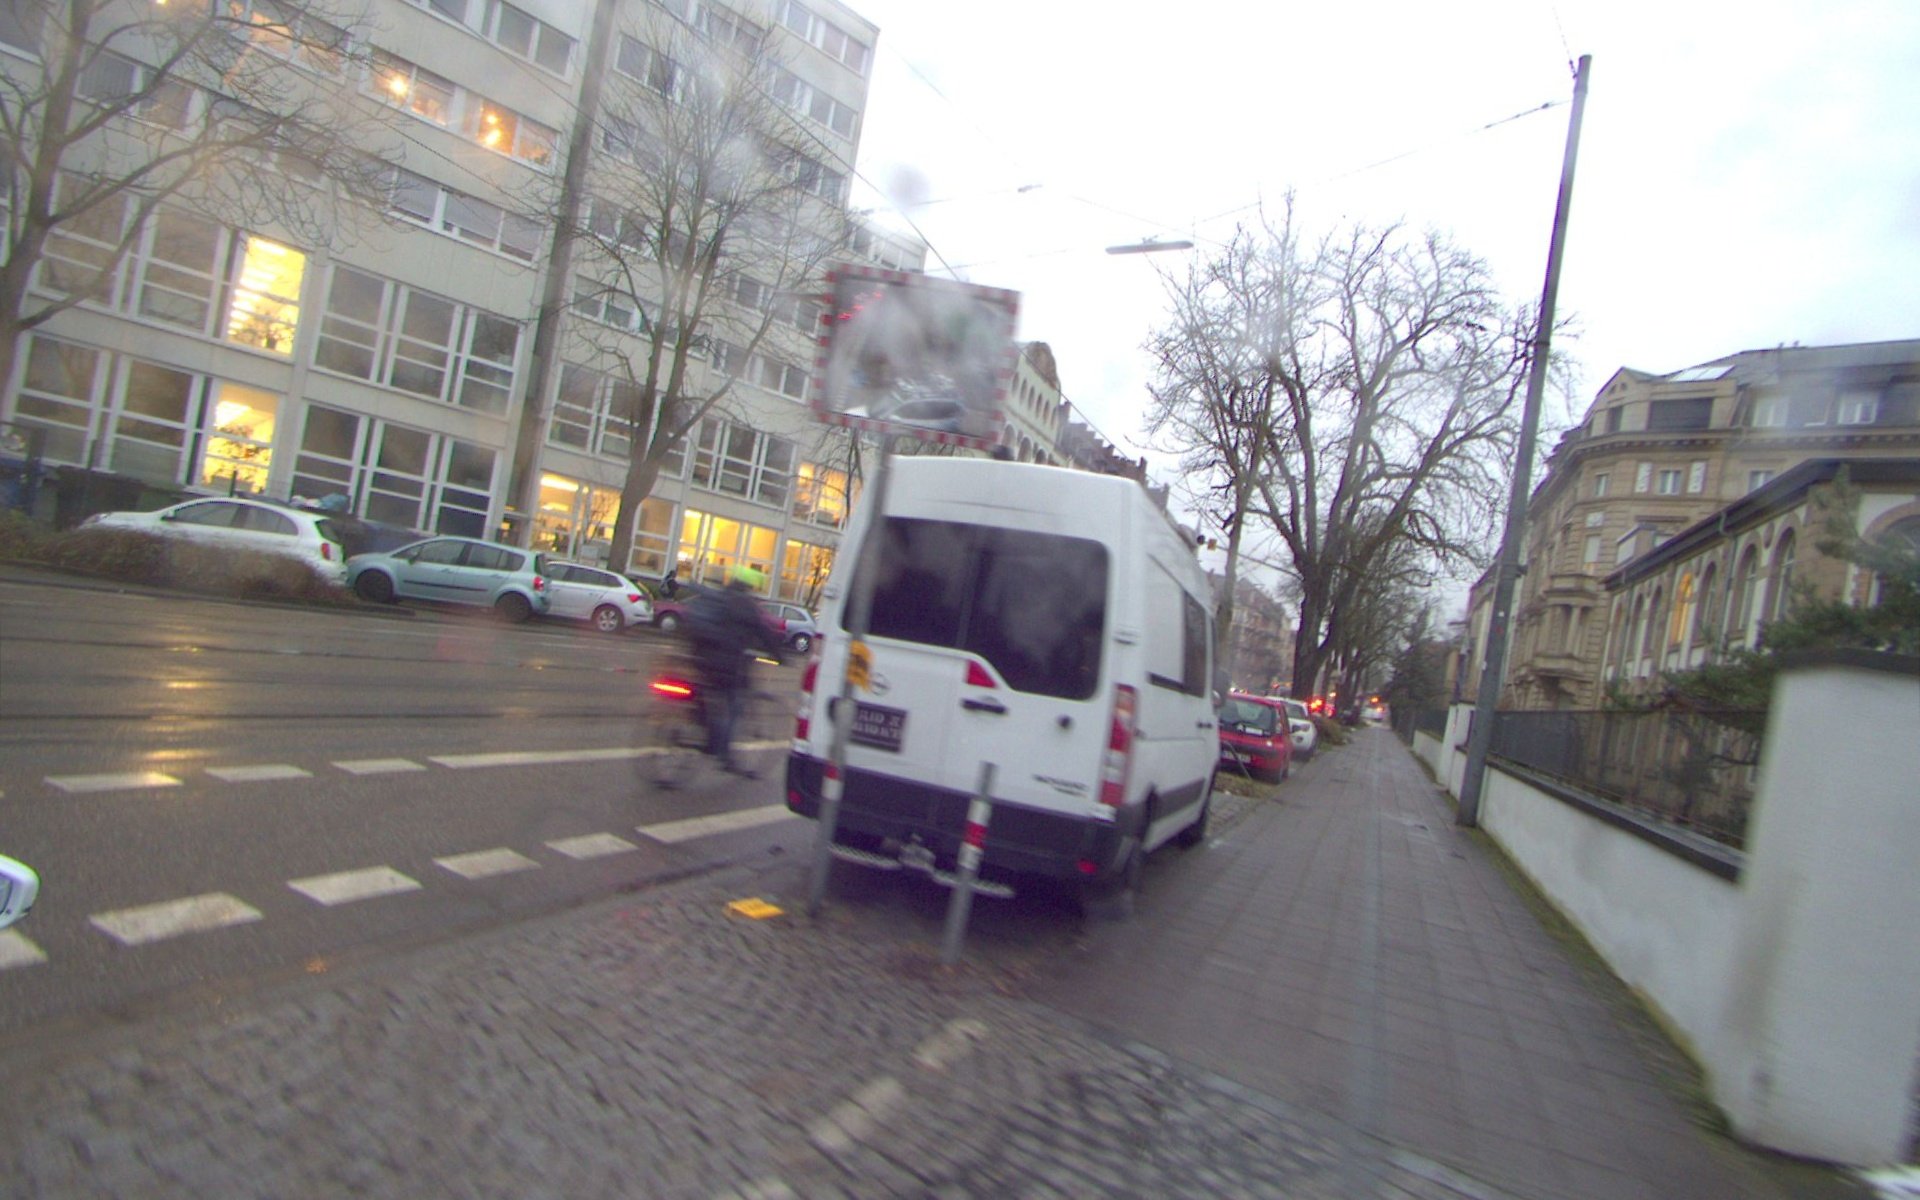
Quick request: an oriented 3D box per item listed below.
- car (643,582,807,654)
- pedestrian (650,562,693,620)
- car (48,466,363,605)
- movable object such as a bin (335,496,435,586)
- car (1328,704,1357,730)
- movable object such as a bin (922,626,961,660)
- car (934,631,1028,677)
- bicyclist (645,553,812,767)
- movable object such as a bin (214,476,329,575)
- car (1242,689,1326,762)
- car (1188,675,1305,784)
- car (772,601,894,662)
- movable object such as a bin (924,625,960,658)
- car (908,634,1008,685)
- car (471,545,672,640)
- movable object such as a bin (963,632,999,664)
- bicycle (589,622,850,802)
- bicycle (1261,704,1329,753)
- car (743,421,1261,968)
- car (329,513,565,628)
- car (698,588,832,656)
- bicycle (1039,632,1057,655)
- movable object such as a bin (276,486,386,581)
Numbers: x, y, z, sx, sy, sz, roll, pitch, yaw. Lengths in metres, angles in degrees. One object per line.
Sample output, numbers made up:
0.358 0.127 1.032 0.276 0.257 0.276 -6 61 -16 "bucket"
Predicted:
-6.908 0.524 29.614 4.297 1.367 1.740 11 -2 -25 "car"
-9.253 -0.284 32.305 0.588 1.696 0.973 9 0 23 "pedestrian"
-12.700 -1.040 17.251 3.827 1.569 1.684 10 -1 -21 "car"
-14.315 -1.456 25.070 1.547 1.882 1.317 9 0 25 "movable object such as a bin"
27.265 8.315 71.639 1.652 1.476 4.046 9 -2 22 "car"
-0.898 2.145 50.053 1.246 1.467 1.324 9 -1 31 "movable object such as a bin"
0.988 2.565 47.874 3.946 1.444 1.840 10 -1 -19 "car"
-1.745 0.463 7.677 0.646 1.463 0.849 9 0 26 "bicyclist"
-15.421 -1.658 22.559 1.547 1.882 1.317 9 0 25 "movable object such as a bin"
8.690 3.287 26.814 1.666 1.537 3.640 9 -1 22 "car"
5.485 2.361 18.958 1.618 1.540 3.575 10 -1 21 "car"
-4.494 1.118 35.575 3.804 1.439 1.727 10 -1 -22 "car"
-0.960 2.222 53.622 1.246 1.467 1.324 9 -1 31 "movable object such as a bin"
-0.086 2.675 45.293 3.950 1.487 1.822 11 -1 -22 "car"
-8.962 -0.130 23.503 3.936 1.459 1.735 10 -2 -10 "car"
1.147 2.603 54.072 1.246 1.467 1.324 9 -1 31 "movable object such as a bin"
-1.762 0.848 7.786 0.697 1.109 2.029 9 -1 26 "bicycle"
9.694 3.705 29.118 1.687 1.083 0.663 9 0 24 "bicycle"
0.884 0.621 7.820 2.092 2.515 5.443 9 -1 21 "car"
-10.412 -0.574 20.754 3.945 1.581 1.730 10 -1 -19 "car"
-6.263 0.708 32.412 3.937 1.479 1.734 10 -2 -11 "car"
5.169 2.569 59.009 0.619 1.226 1.598 9 -1 14 "bicycle"
-14.878 -1.565 23.817 1.547 1.882 1.393 9 0 25 "movable object such as a bin"
